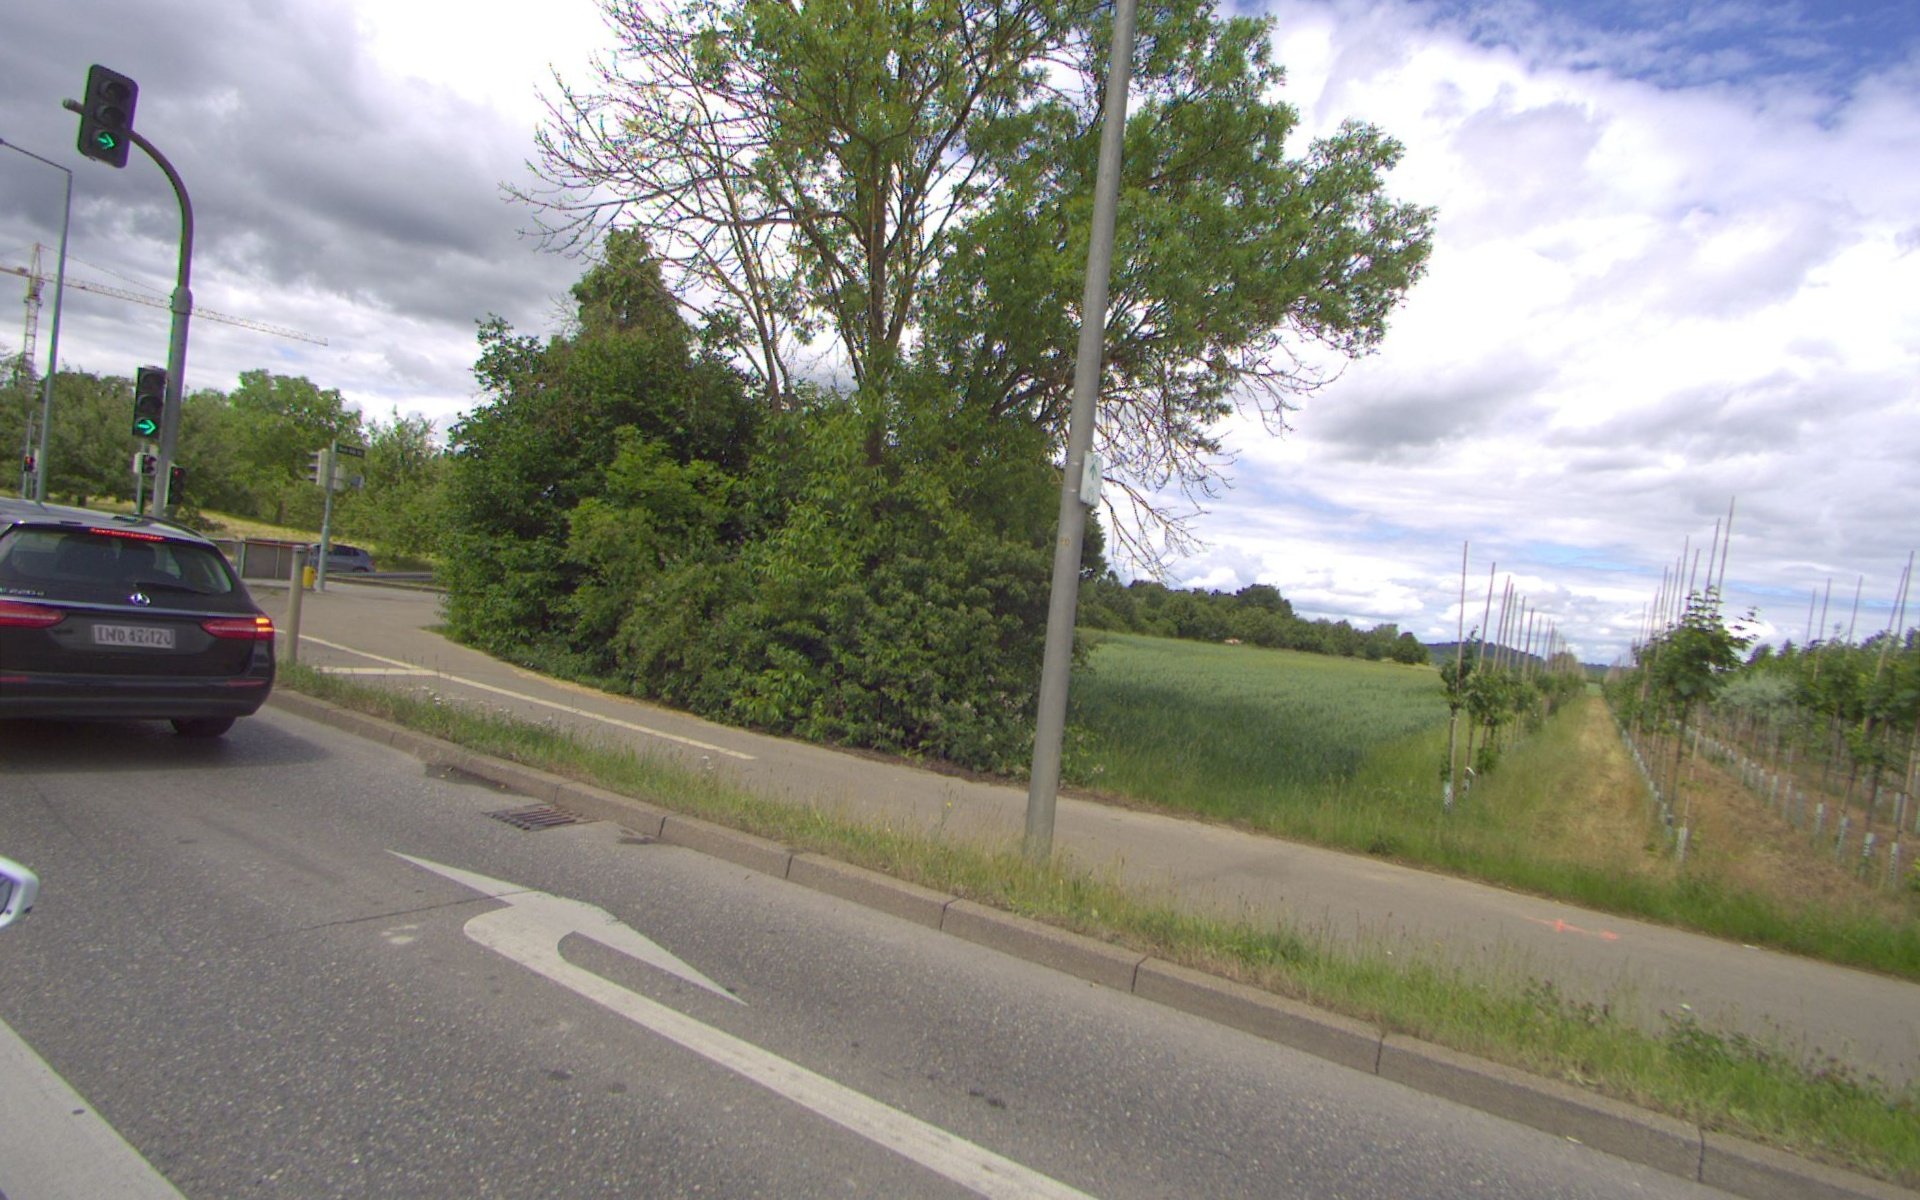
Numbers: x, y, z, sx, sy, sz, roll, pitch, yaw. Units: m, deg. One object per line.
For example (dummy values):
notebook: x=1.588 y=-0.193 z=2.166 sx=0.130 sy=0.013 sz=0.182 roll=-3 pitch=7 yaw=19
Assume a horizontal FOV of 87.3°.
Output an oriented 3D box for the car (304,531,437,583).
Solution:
car: x=-24.658 y=-1.784 z=42.180 sx=1.970 sy=1.544 sz=4.302 roll=7 pitch=0 yaw=38

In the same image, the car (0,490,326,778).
car: x=-6.824 y=-0.027 z=7.063 sx=5.113 sy=1.459 sz=1.874 roll=7 pitch=1 yaw=31
